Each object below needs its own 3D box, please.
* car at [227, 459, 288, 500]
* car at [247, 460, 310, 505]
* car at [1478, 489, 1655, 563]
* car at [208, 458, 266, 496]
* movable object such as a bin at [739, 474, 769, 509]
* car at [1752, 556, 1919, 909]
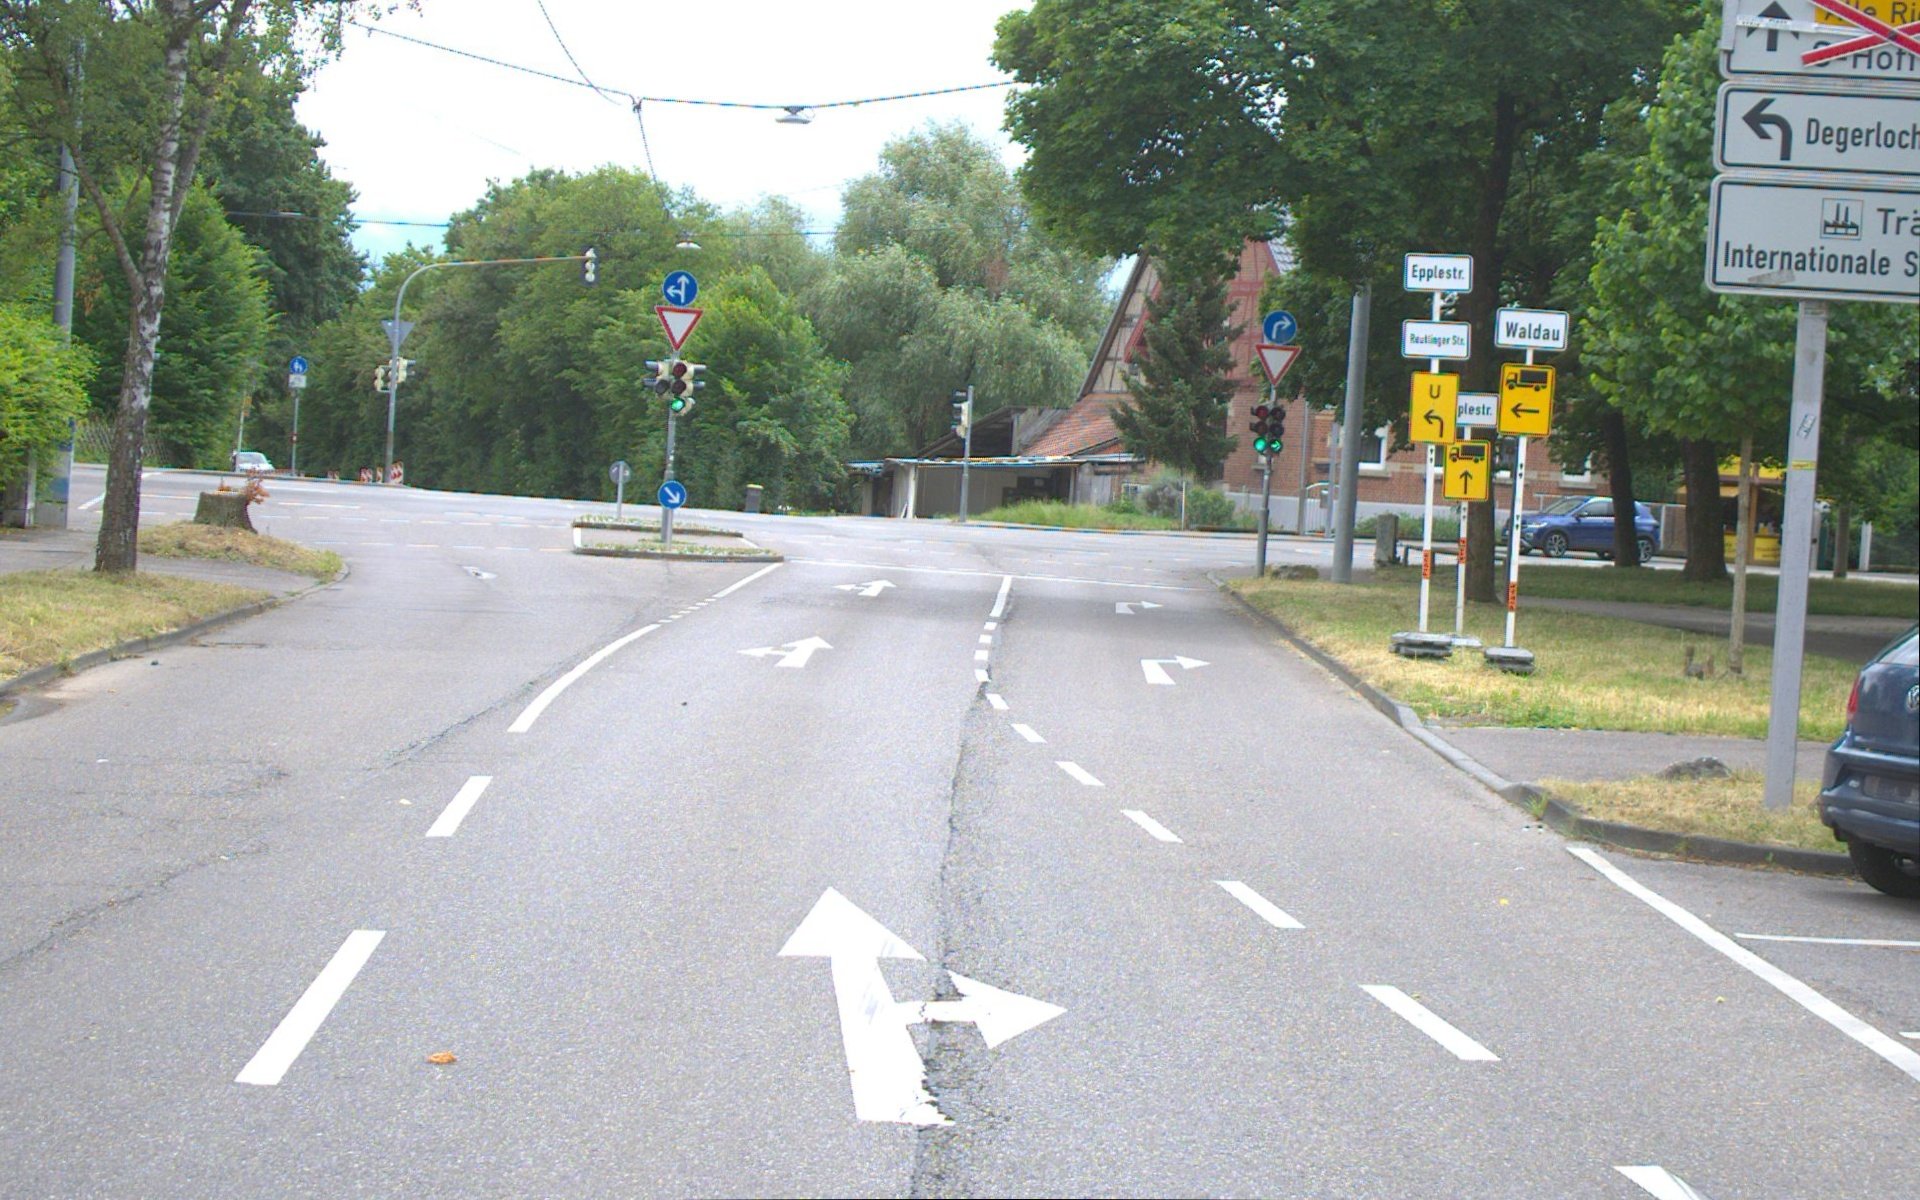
[{"bbox_3d":[-27.045,-4.648,132.264,1.793,1.405,4.002,2,2,-18],"label":"car"},{"bbox_3d":[-25.207,-4.348,127.127,1.793,1.507,4.002,2,2,-18],"label":"car"},{"bbox_3d":[15.317,-1.872,86.868,3.844,1.641,2.001,2,2,-18],"label":"car"},{"bbox_3d":[-29.008,-4.944,137.898,1.793,1.405,4.002,2,2,-18],"label":"car"},{"bbox_3d":[-6.022,-3.165,100.384,0.632,0.998,0.584,3,0,-26],"label":"movable object such as a bin"},{"bbox_3d":[5.665,0.714,15.035,3.817,1.420,1.747,5,0,-17],"label":"car"}]
